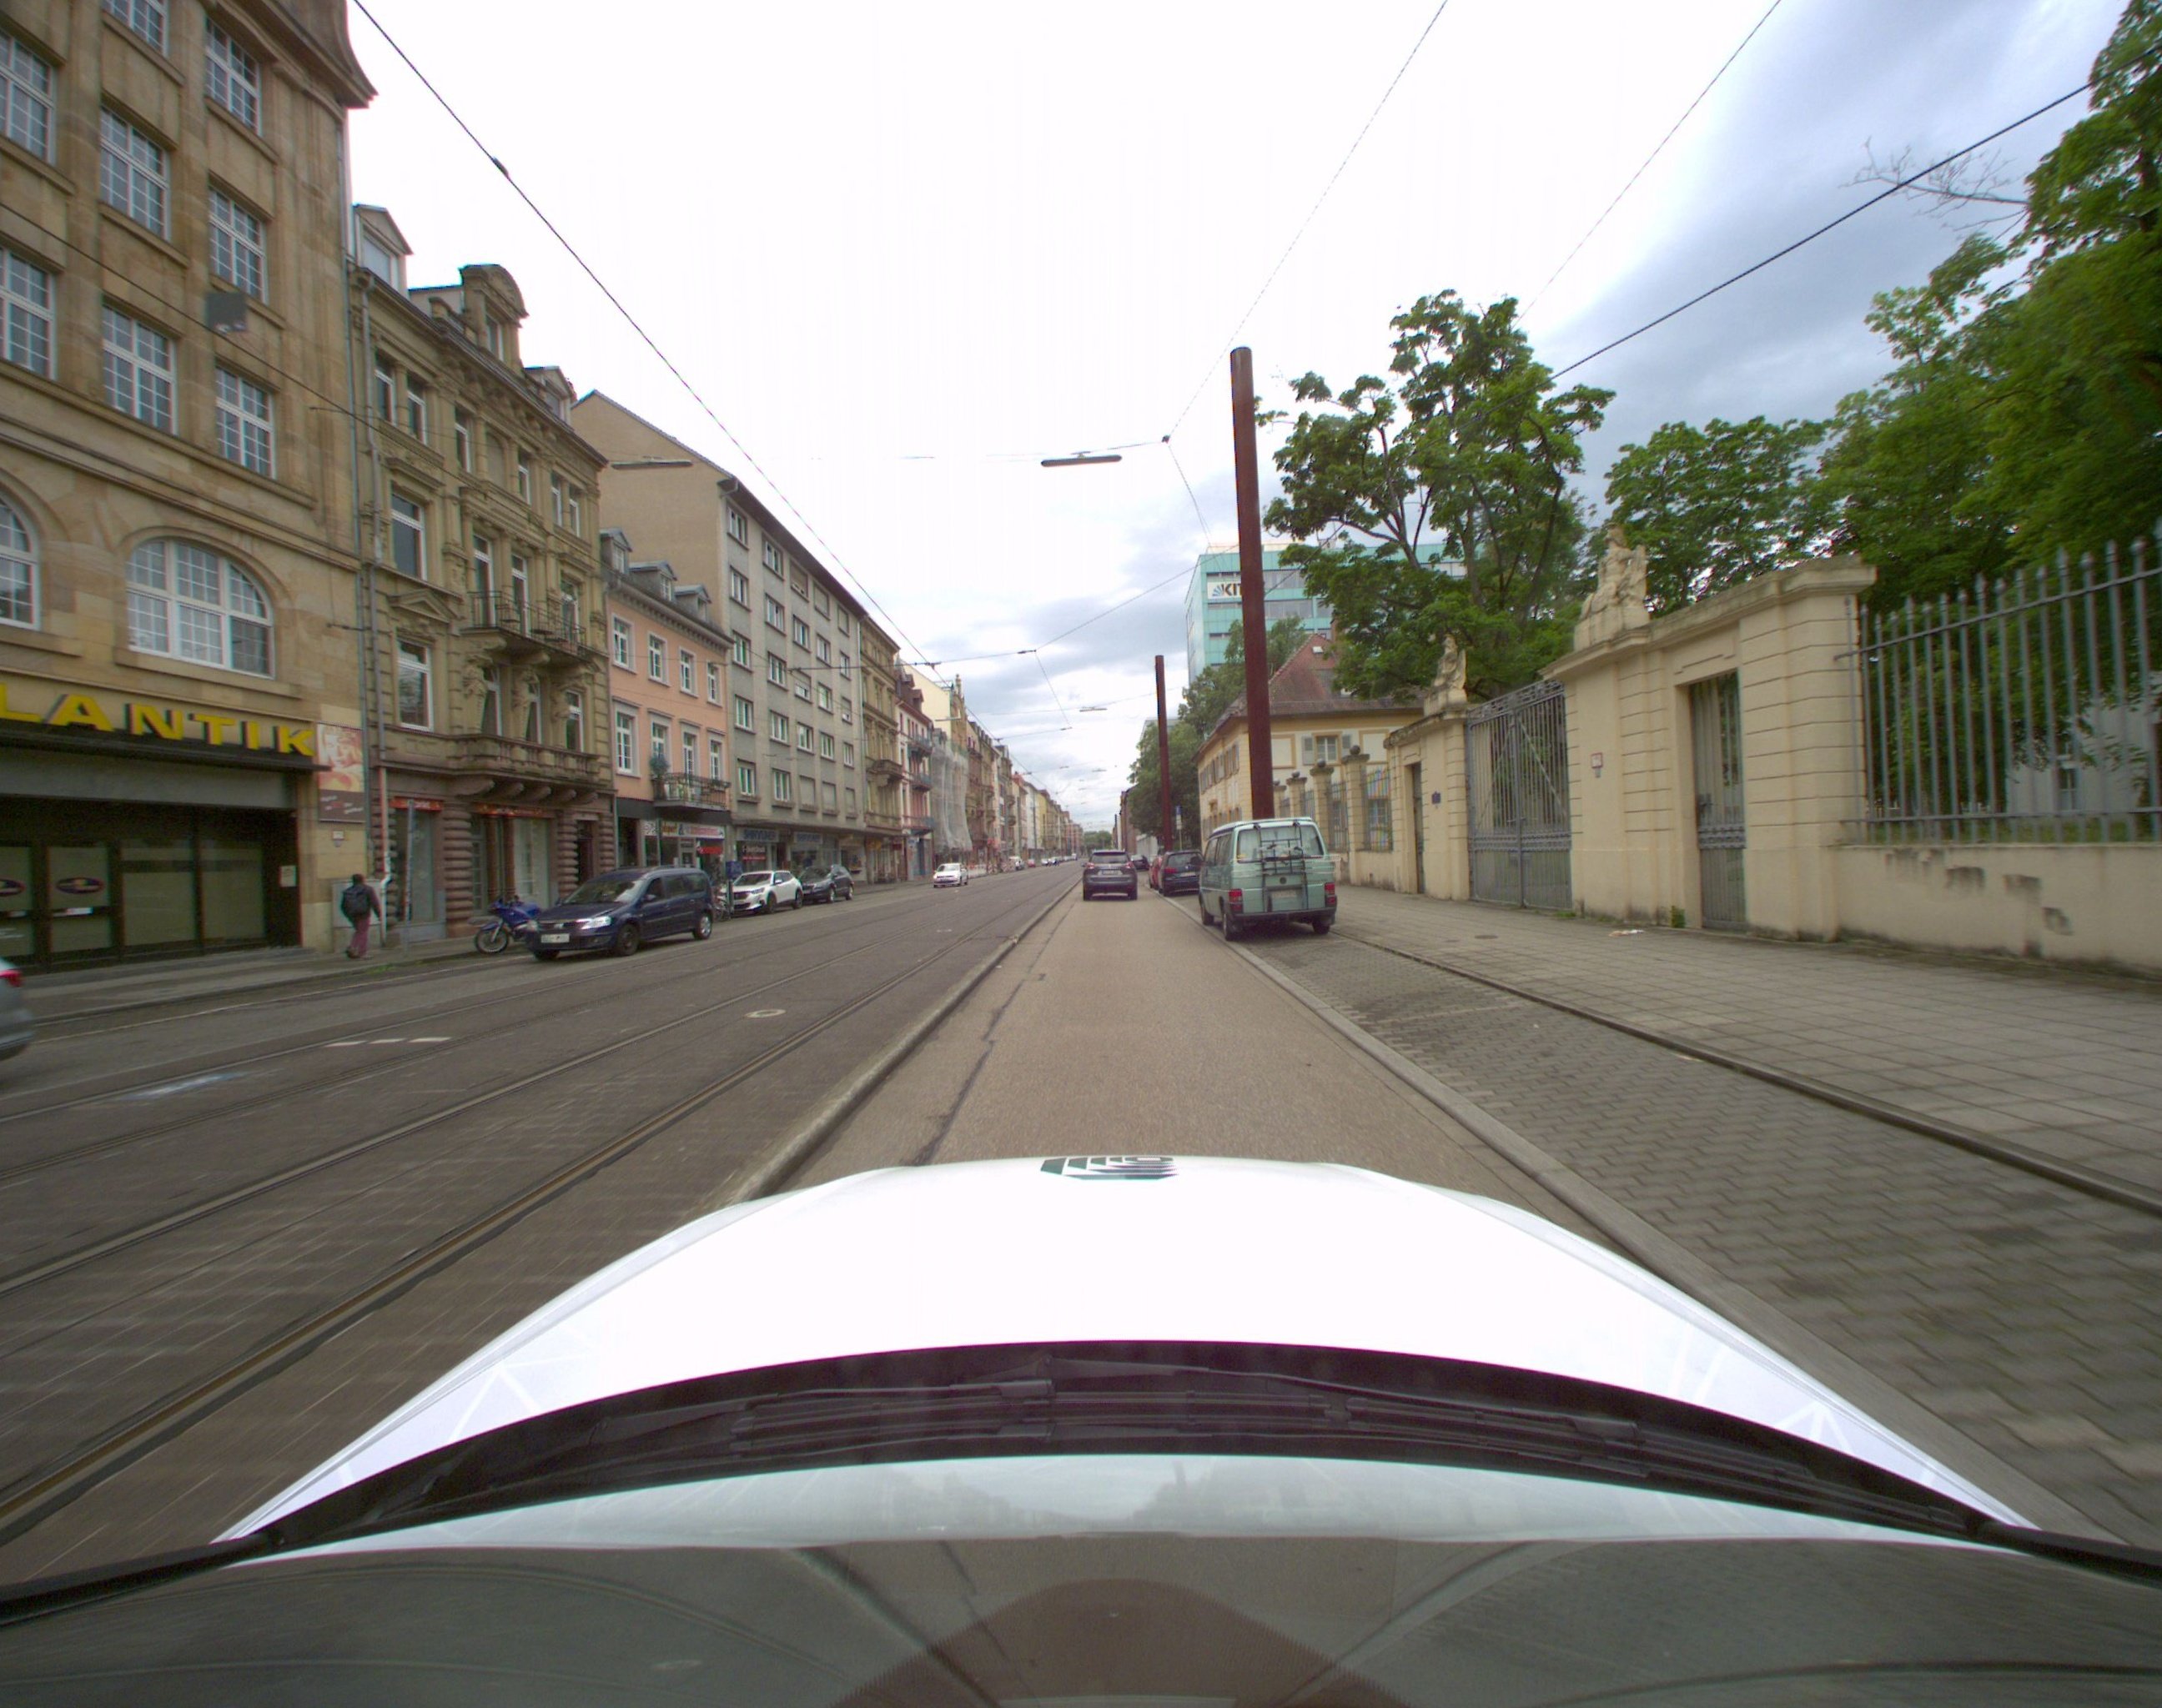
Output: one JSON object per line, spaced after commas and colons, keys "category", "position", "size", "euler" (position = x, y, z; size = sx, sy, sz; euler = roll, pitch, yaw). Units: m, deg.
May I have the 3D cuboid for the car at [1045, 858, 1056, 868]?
{"category": "car", "position": [-5.476, 1.638, 146.376], "size": [1.988, 1.635, 3.997], "euler": [-2, -1, -2]}

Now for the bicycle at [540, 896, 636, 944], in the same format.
{"category": "bicycle", "position": [-11.781, 1.570, 19.487], "size": [1.919, 1.001, 0.462], "euler": [-2, -1, -7]}

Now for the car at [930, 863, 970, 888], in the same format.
{"category": "car", "position": [-8.028, 1.294, 50.282], "size": [1.681, 1.420, 4.136], "euler": [-2, 0, 1]}

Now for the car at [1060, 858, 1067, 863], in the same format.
{"category": "car", "position": [-4.948, 1.958, 233.496], "size": [1.988, 1.266, 3.997], "euler": [-2, -1, -2]}

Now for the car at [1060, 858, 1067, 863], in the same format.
{"category": "car", "position": [-5.108, 1.869, 238.560], "size": [1.988, 1.266, 3.997], "euler": [-2, -1, -2]}

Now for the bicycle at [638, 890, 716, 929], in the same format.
{"category": "bicycle", "position": [-11.746, 1.606, 23.706], "size": [1.964, 1.001, 0.462], "euler": [-2, -1, -7]}

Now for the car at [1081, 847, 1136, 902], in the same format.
{"category": "car", "position": [0.932, 0.666, 28.233], "size": [1.743, 1.756, 3.924], "euler": [0, 0, 1]}

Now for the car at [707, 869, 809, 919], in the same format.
{"category": "car", "position": [-11.419, 1.364, 29.151], "size": [1.769, 1.504, 4.403], "euler": [-2, 0, 1]}

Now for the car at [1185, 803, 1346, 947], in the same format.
{"category": "car", "position": [3.246, 0.344, 15.399], "size": [1.845, 2.115, 4.986], "euler": [-5, 0, 1]}

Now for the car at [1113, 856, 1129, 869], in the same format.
{"category": "car", "position": [4.780, 1.024, 97.053], "size": [1.769, 1.420, 4.136], "euler": [-2, 0, 1]}

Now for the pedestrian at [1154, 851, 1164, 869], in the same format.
{"category": "pedestrian", "position": [8.502, 0.672, 88.752], "size": [0.907, 1.886, 0.846], "euler": [-2, -1, 1]}

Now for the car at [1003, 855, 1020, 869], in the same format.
{"category": "car", "position": [-9.365, 1.129, 109.379], "size": [1.988, 1.706, 3.997], "euler": [-2, -1, -2]}

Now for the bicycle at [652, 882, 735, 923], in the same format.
{"category": "bicycle", "position": [-11.947, 1.500, 25.167], "size": [2.228, 1.126, 0.503], "euler": [-2, -1, -7]}

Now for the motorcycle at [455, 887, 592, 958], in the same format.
{"category": "motorcycle", "position": [-11.897, 1.420, 17.459], "size": [2.354, 1.302, 0.874], "euler": [-2, -1, -35]}

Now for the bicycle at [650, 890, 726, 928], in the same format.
{"category": "bicycle", "position": [-11.737, 1.625, 24.329], "size": [1.964, 1.001, 0.462], "euler": [-2, -1, -7]}

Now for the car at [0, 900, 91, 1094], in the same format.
{"category": "car", "position": [-9.202, 1.139, 4.476], "size": [1.752, 1.449, 4.616], "euler": [-2, 0, 2]}

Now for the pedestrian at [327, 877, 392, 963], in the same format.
{"category": "pedestrian", "position": [-14.025, 1.258, 15.845], "size": [0.566, 1.598, 0.718], "euler": [-2, -1, 1]}

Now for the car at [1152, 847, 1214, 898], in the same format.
{"category": "car", "position": [3.665, 0.655, 29.825], "size": [1.743, 1.596, 3.924], "euler": [-5, 0, 1]}

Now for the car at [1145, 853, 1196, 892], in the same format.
{"category": "car", "position": [3.857, 0.765, 35.673], "size": [1.743, 1.441, 3.924], "euler": [-5, 0, 1]}

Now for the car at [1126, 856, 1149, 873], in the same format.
{"category": "car", "position": [4.888, 0.890, 71.127], "size": [1.769, 1.420, 4.136], "euler": [-2, 0, 1]}

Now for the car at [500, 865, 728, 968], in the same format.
{"category": "car", "position": [-9.070, 1.112, 16.381], "size": [1.752, 1.671, 4.616], "euler": [-2, 0, 2]}

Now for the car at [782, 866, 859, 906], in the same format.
{"category": "car", "position": [-11.211, 1.353, 35.374], "size": [1.769, 1.504, 4.403], "euler": [-2, 0, 1]}

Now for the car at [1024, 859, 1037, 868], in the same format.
{"category": "car", "position": [-8.418, 1.626, 135.170], "size": [1.988, 1.464, 3.997], "euler": [-2, -1, -2]}

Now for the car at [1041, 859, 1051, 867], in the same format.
{"category": "car", "position": [-7.139, 1.869, 165.657], "size": [1.988, 1.635, 3.997], "euler": [-2, -1, -2]}
